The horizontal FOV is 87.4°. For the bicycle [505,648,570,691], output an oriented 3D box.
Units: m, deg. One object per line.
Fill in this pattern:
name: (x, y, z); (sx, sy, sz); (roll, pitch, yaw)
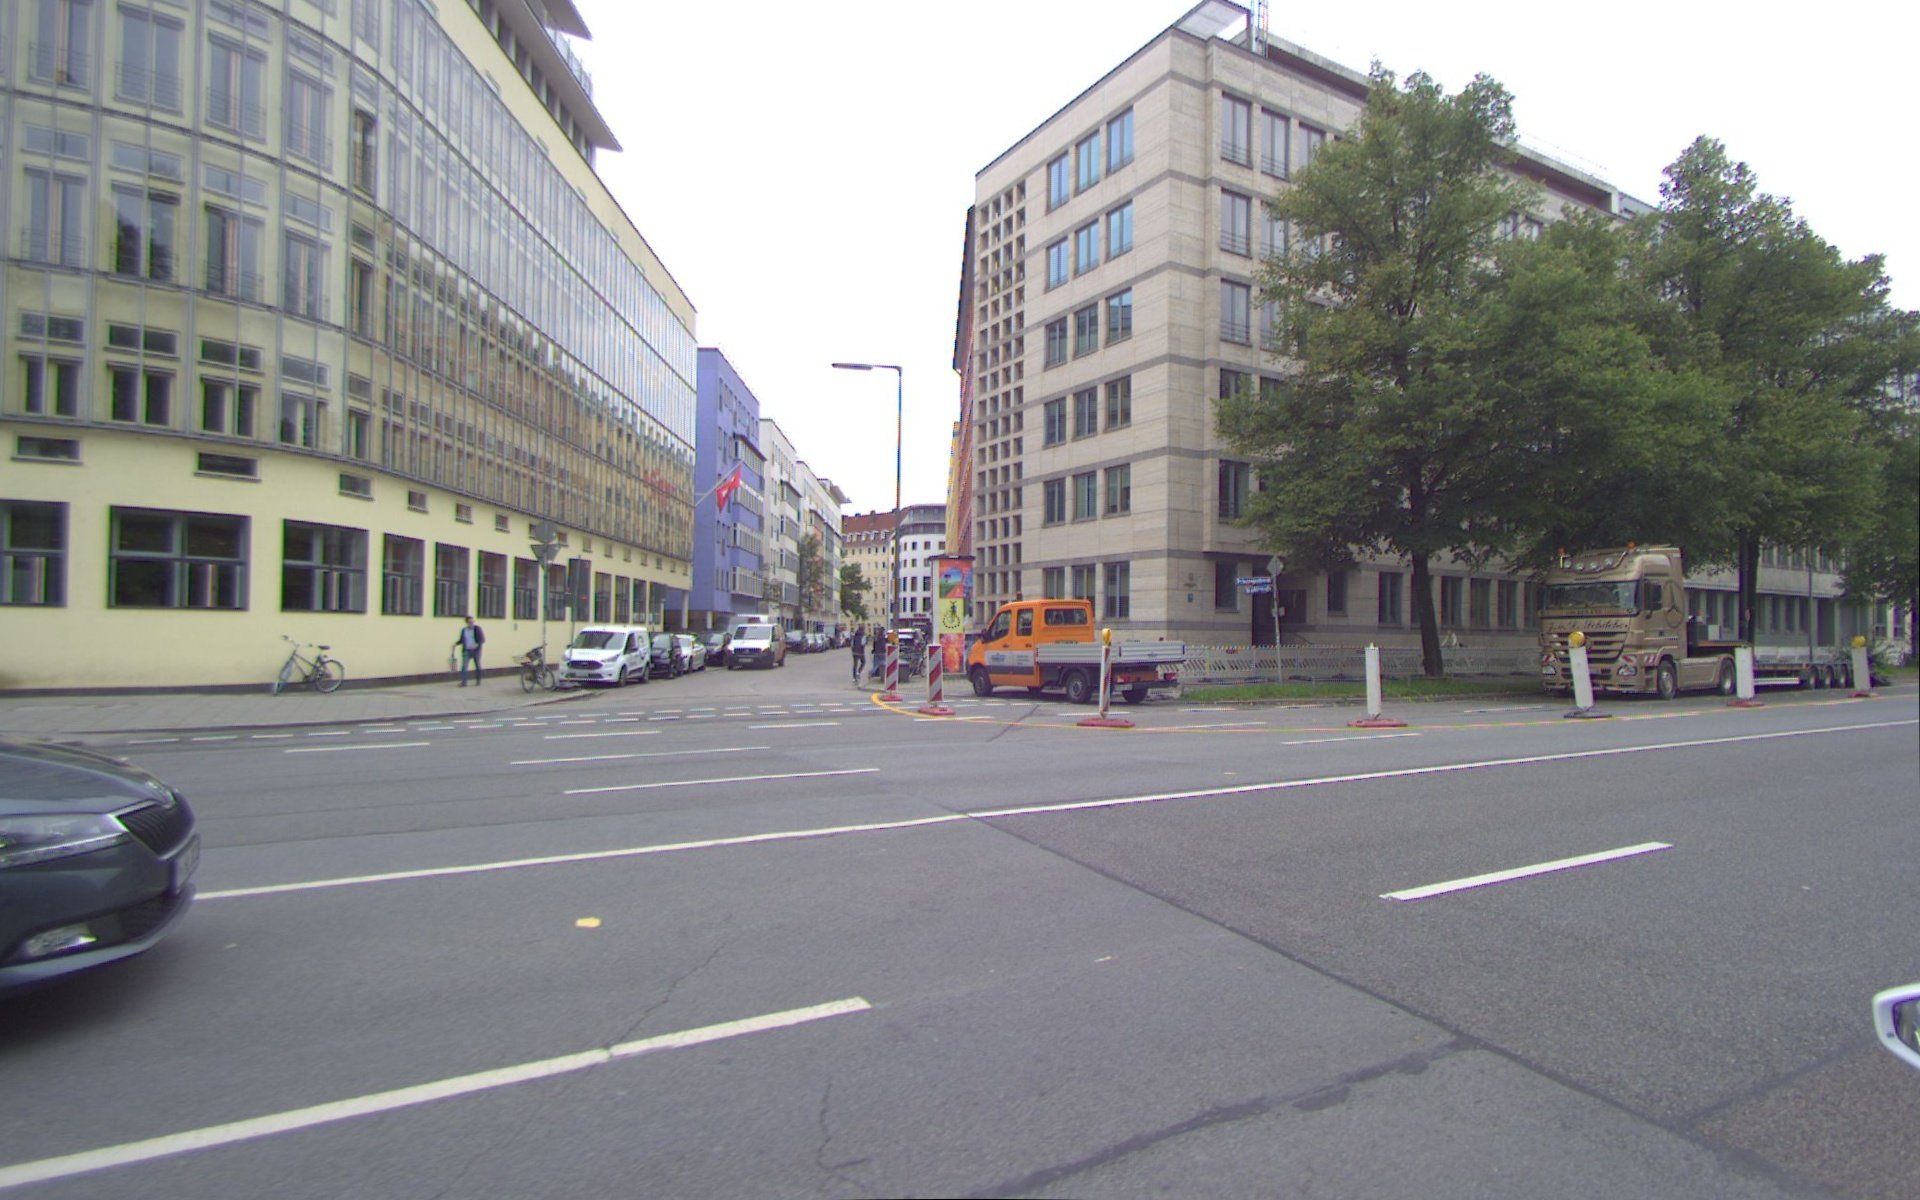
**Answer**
bicycle: (-10.746, 1.746, 25.615); (0.574, 1.034, 1.847); (0, -2, 12)

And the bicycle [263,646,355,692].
bicycle: (-13.790, 1.447, 21.339); (0.574, 0.889, 1.738); (0, -2, 12)

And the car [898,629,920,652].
car: (-3.574, 2.812, 70.099); (1.460, 1.612, 3.183); (1, -2, -2)

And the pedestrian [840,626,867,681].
pedestrian: (-3.558, 1.780, 33.526); (0.665, 1.798, 0.680); (1, 0, -26)

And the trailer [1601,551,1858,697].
trailer: (23.815, 0.769, 30.728); (11.655, 3.790, 2.930); (2, -1, -36)

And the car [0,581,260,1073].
car: (-4.723, 0.640, 2.921); (4.226, 1.466, 1.784); (2, -2, -31)

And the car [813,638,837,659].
car: (-12.310, 4.398, 91.727); (1.834, 1.773, 3.998); (1, -2, -4)

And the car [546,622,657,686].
car: (-10.652, 1.568, 30.188); (1.833, 1.773, 4.329); (1, -2, -1)

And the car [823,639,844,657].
car: (-12.760, 4.838, 101.404); (1.834, 1.773, 3.998); (1, -2, -4)

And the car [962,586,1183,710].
car: (2.487, 1.087, 23.908); (2.134, 2.570, 5.647); (2, -2, -33)

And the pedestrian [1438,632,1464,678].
pedestrian: (19.162, 2.139, 39.217); (0.755, 1.755, 0.576); (2, 0, -30)

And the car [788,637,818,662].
car: (-11.782, 3.727, 75.704); (1.834, 1.773, 3.998); (1, -2, -4)

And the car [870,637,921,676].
car: (-2.450, 2.096, 37.785); (1.445, 1.393, 3.232); (1, -2, -12)

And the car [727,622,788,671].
car: (-8.564, 1.934, 42.818); (1.719, 1.935, 5.072); (1, -2, -2)

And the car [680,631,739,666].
car: (-10.969, 2.106, 44.151); (1.708, 1.476, 3.671); (1, -2, -1)

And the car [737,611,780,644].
car: (-11.449, 1.587, 57.321); (1.834, 1.773, 3.998); (1, -2, -4)

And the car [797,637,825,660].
car: (-11.931, 3.852, 80.701); (1.834, 1.773, 3.998); (1, -2, -4)

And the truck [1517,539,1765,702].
truck: (18.321, 0.569, 26.854); (7.587, 3.825, 2.897); (2, -1, -34)

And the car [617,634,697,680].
car: (-10.364, 1.919, 34.597); (1.708, 1.476, 3.671); (1, -2, -1)

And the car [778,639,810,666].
car: (-11.561, 3.622, 70.143); (1.834, 1.773, 3.998); (1, -2, -4)

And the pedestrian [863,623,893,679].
pedestrian: (-2.714, 1.686, 33.202); (0.773, 1.798, 0.680); (2, 0, -26)

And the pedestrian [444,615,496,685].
pedestrian: (-12.697, 1.281, 26.041); (0.798, 1.756, 0.995); (1, 0, 1)

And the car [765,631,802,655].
car: (-11.004, 2.673, 62.697); (1.708, 1.476, 3.671); (1, -2, -1)

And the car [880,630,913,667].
car: (-3.029, 2.303, 48.124); (1.460, 1.686, 3.183); (1, -2, -2)

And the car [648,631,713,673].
car: (-10.633, 1.941, 38.416); (1.460, 1.517, 3.964); (1, -2, -2)
